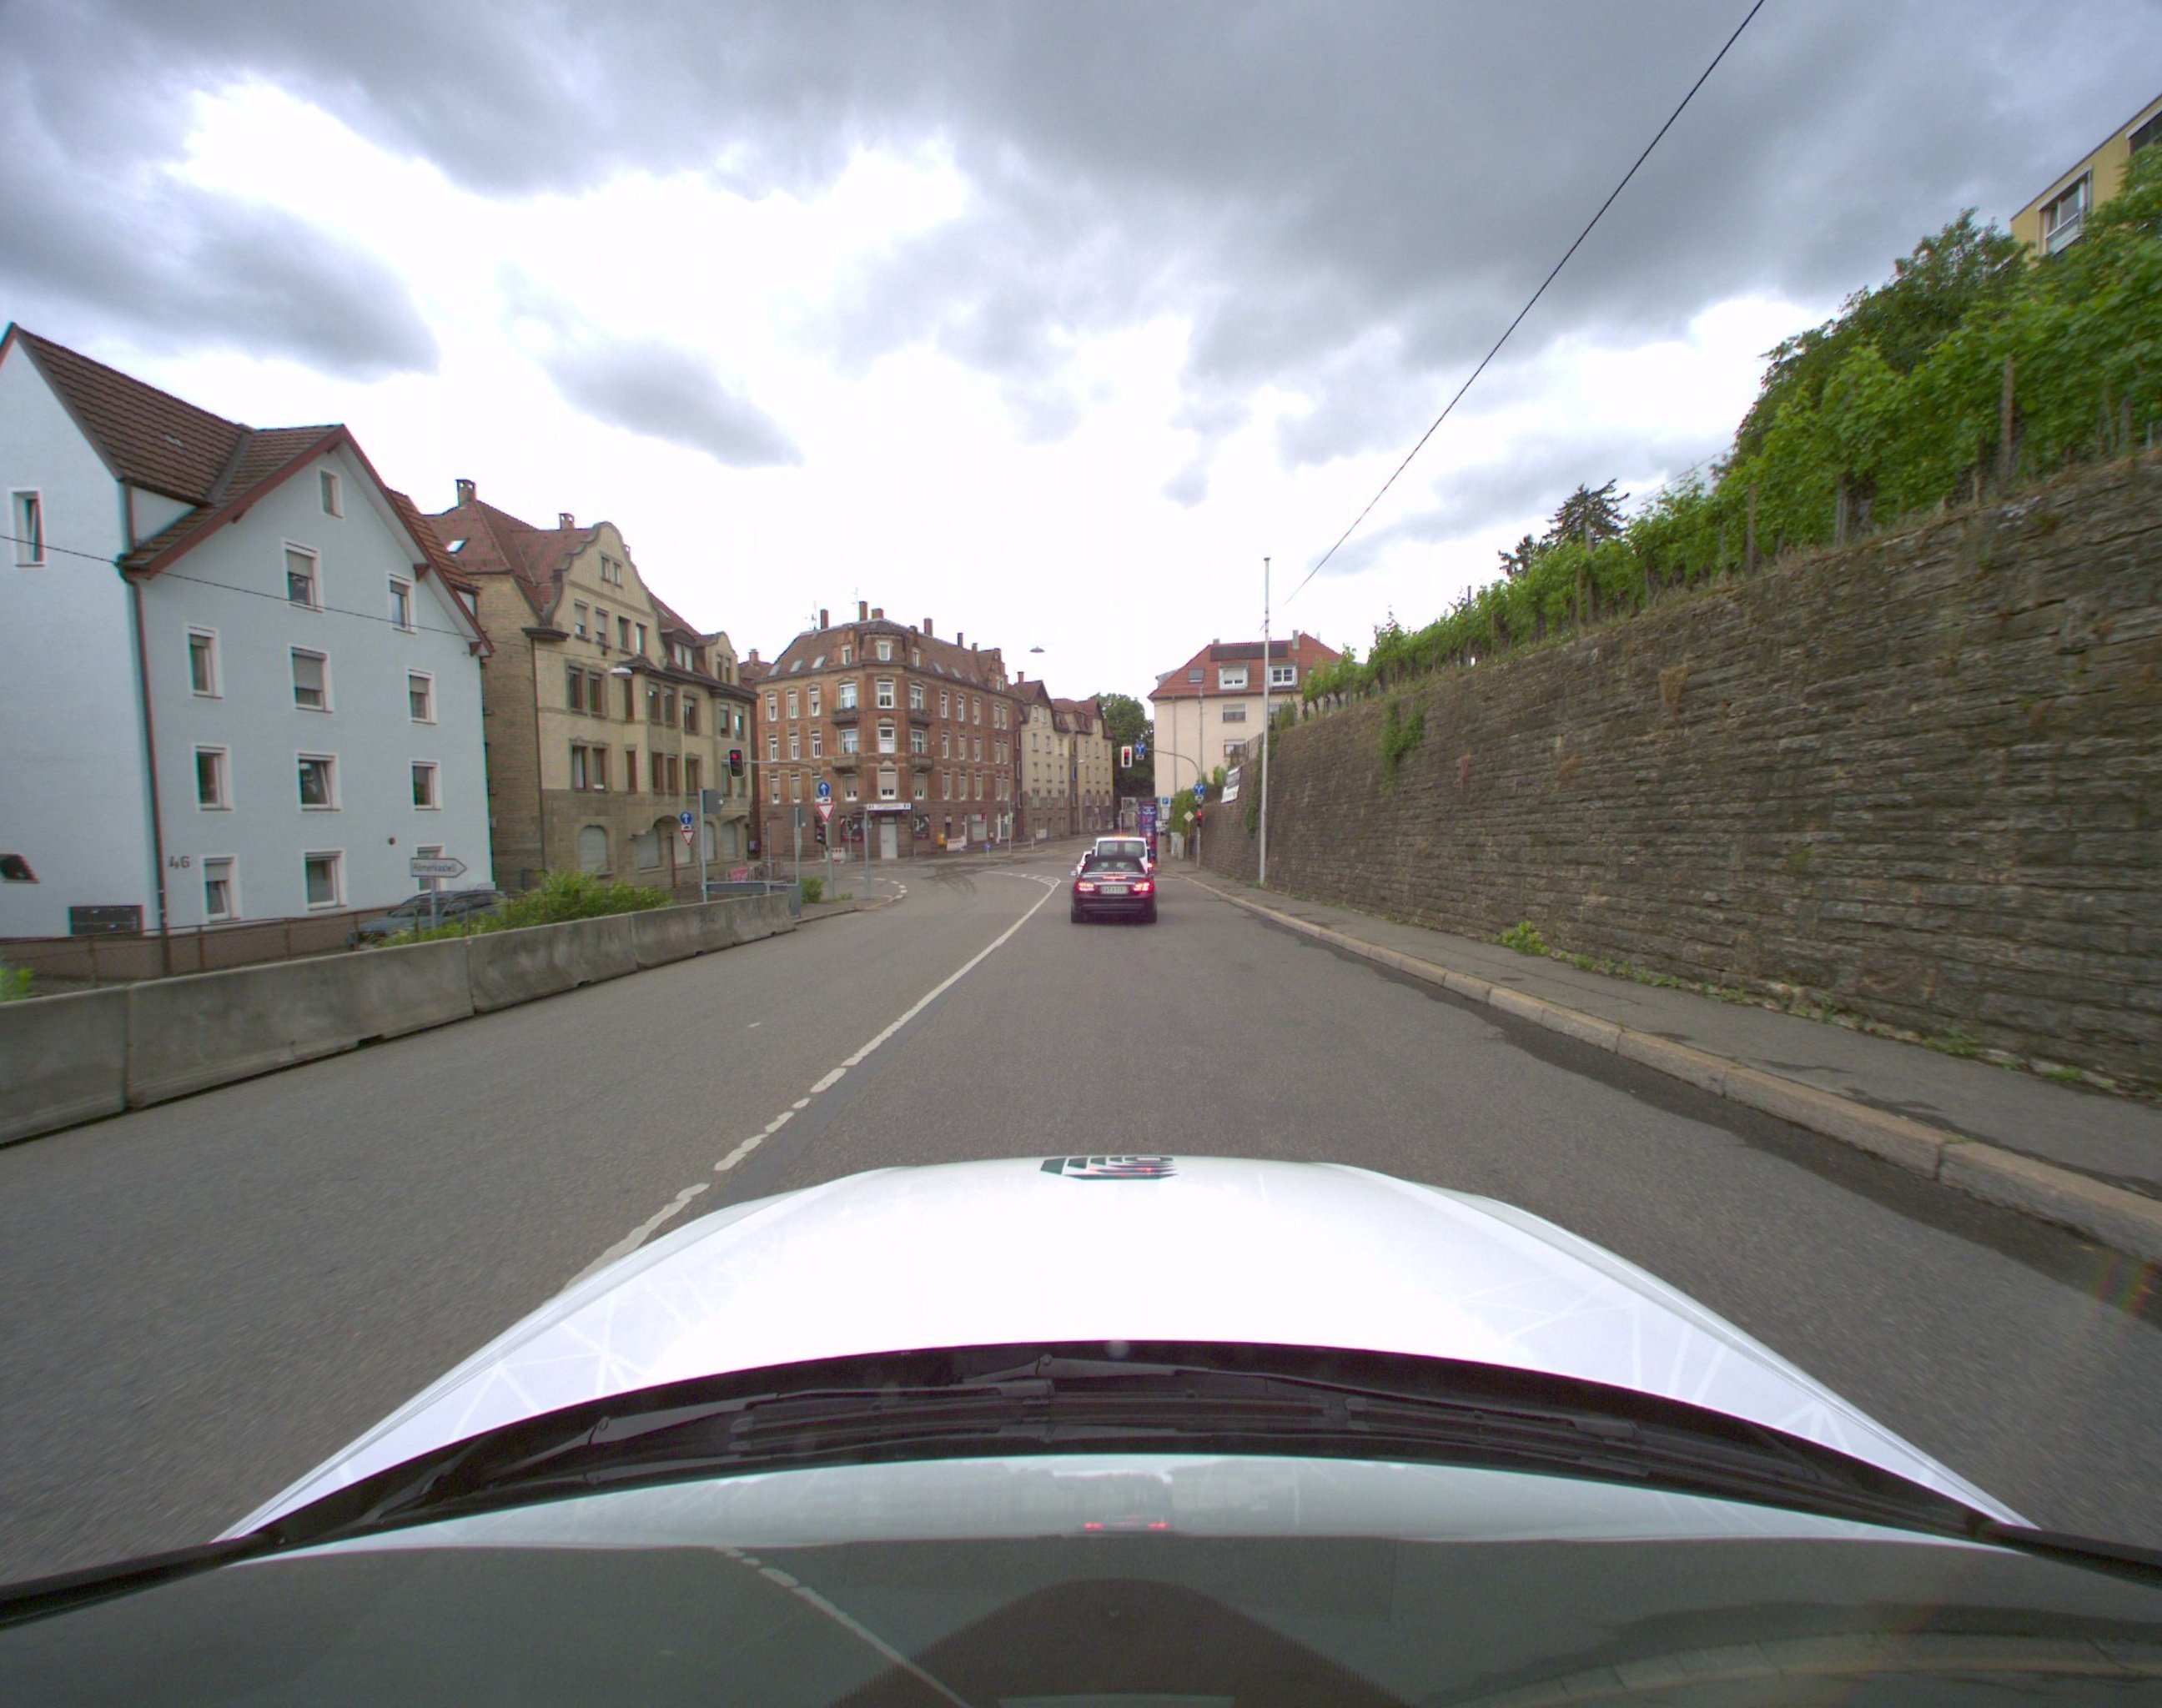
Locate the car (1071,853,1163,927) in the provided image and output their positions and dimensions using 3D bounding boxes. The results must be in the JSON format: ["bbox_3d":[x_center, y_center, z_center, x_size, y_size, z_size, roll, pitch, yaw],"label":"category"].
[{"bbox_3d":[0.740,0.702,18.000,1.810,1.430,4.001,-1,0,1],"label":"car"}]

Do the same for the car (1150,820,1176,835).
[{"bbox_3d":[9.522,-3.092,94.684,1.825,1.702,4.023,-1,2,23],"label":"car"}]

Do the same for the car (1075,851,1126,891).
[{"bbox_3d":[0.740,0.613,31.756,1.835,1.441,4.001,-1,0,1],"label":"car"}]

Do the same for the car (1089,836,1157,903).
[{"bbox_3d":[1.212,0.443,25.000,1.903,1.884,4.001,-1,0,1],"label":"car"}]

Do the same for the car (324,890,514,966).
[{"bbox_3d":[-18.389,1.998,22.912,1.786,1.608,4.005,-4,1,4],"label":"car"}]
